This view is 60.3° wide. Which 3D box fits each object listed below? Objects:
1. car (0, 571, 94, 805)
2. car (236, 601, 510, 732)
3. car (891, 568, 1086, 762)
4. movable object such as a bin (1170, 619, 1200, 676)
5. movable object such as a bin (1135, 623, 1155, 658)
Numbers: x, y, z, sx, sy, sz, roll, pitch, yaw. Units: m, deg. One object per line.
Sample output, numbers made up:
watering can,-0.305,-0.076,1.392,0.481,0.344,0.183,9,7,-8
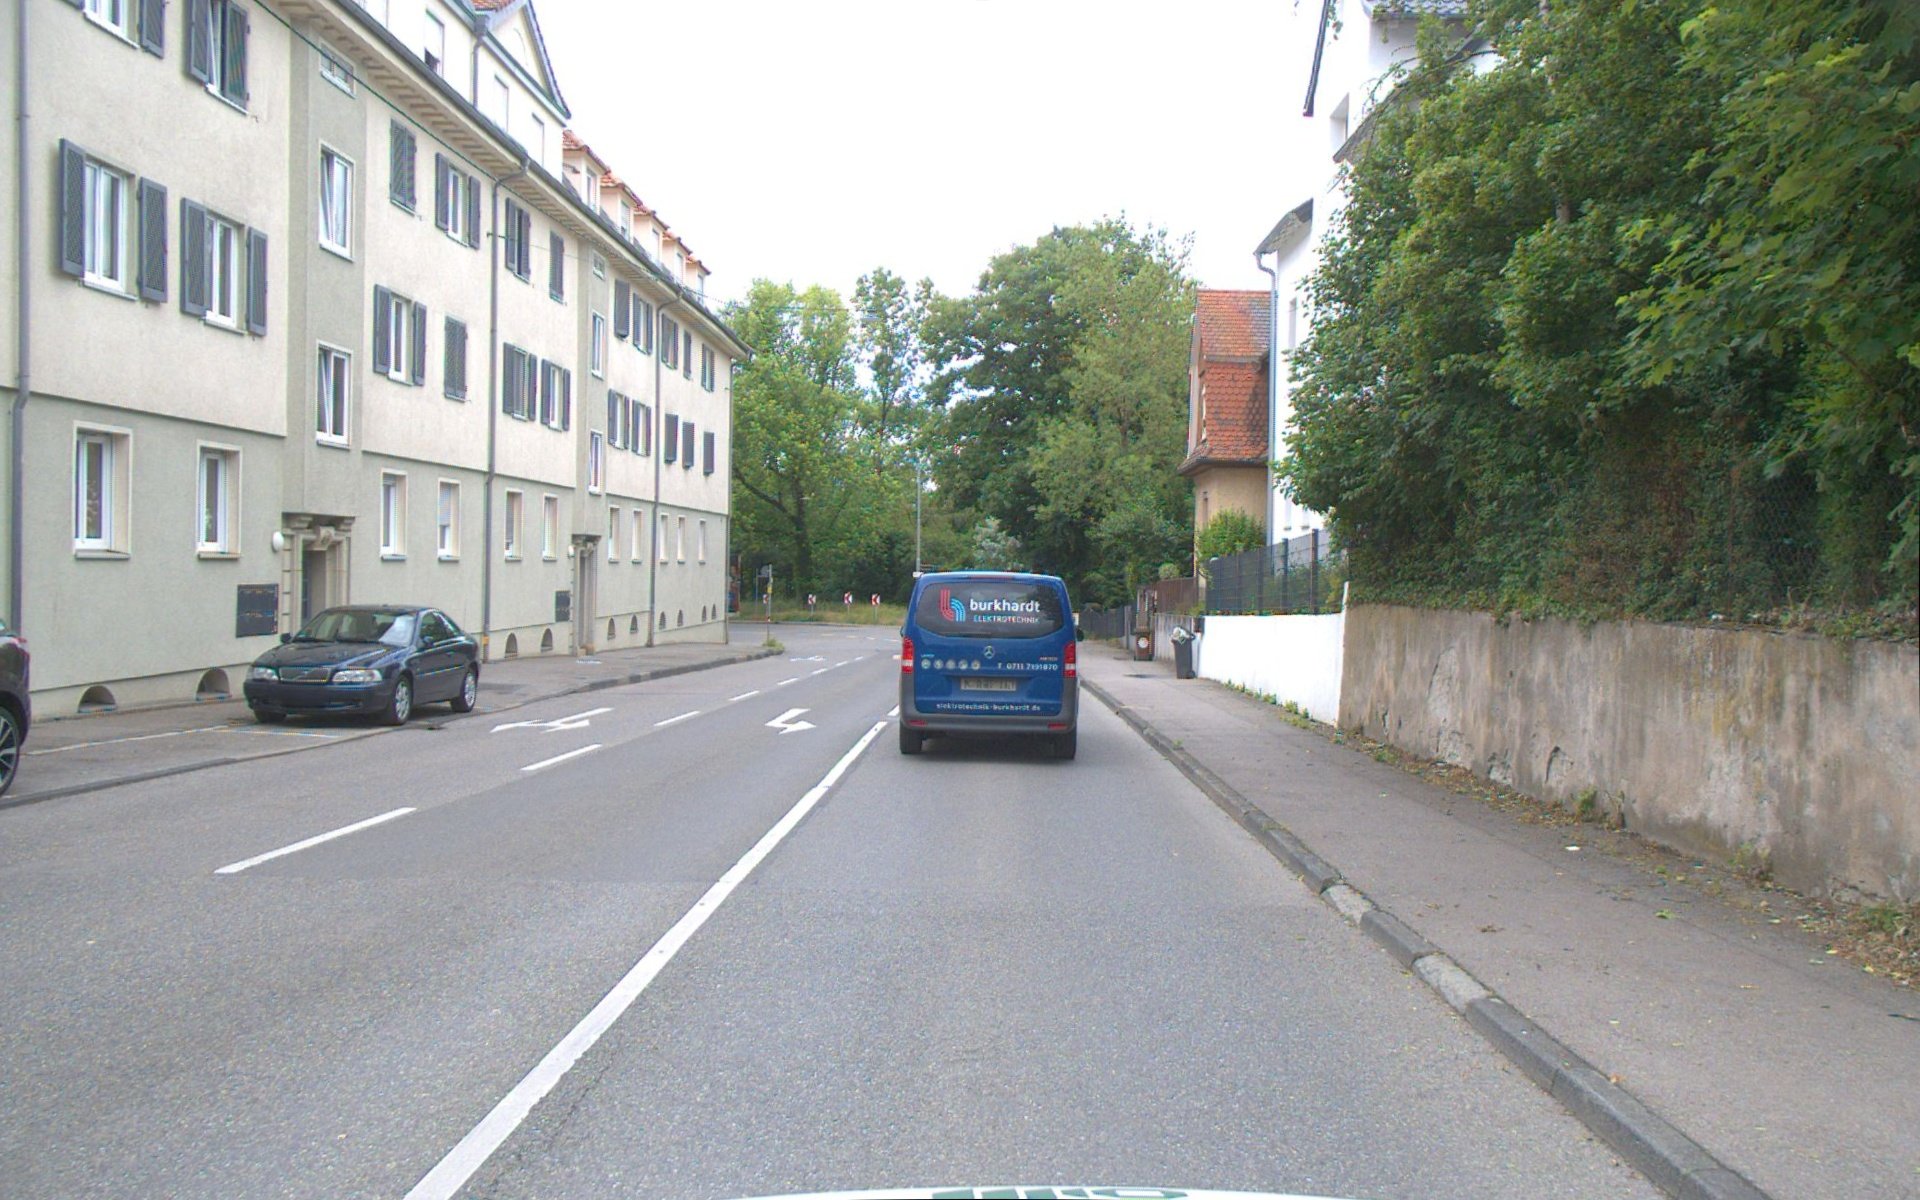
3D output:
car,-7.694,0.605,10.606,1.784,1.661,4.696,2,0,0
car,-7.347,0.760,21.265,1.675,1.427,4.846,2,0,1
car,0.246,0.637,18.277,1.874,1.870,4.293,1,0,-1
movable object such as a bin,4.848,1.023,35.714,0.517,1.198,0.634,-3,0,0
movable object such as a bin,5.141,1.122,46.060,0.452,0.940,0.566,-3,0,0
